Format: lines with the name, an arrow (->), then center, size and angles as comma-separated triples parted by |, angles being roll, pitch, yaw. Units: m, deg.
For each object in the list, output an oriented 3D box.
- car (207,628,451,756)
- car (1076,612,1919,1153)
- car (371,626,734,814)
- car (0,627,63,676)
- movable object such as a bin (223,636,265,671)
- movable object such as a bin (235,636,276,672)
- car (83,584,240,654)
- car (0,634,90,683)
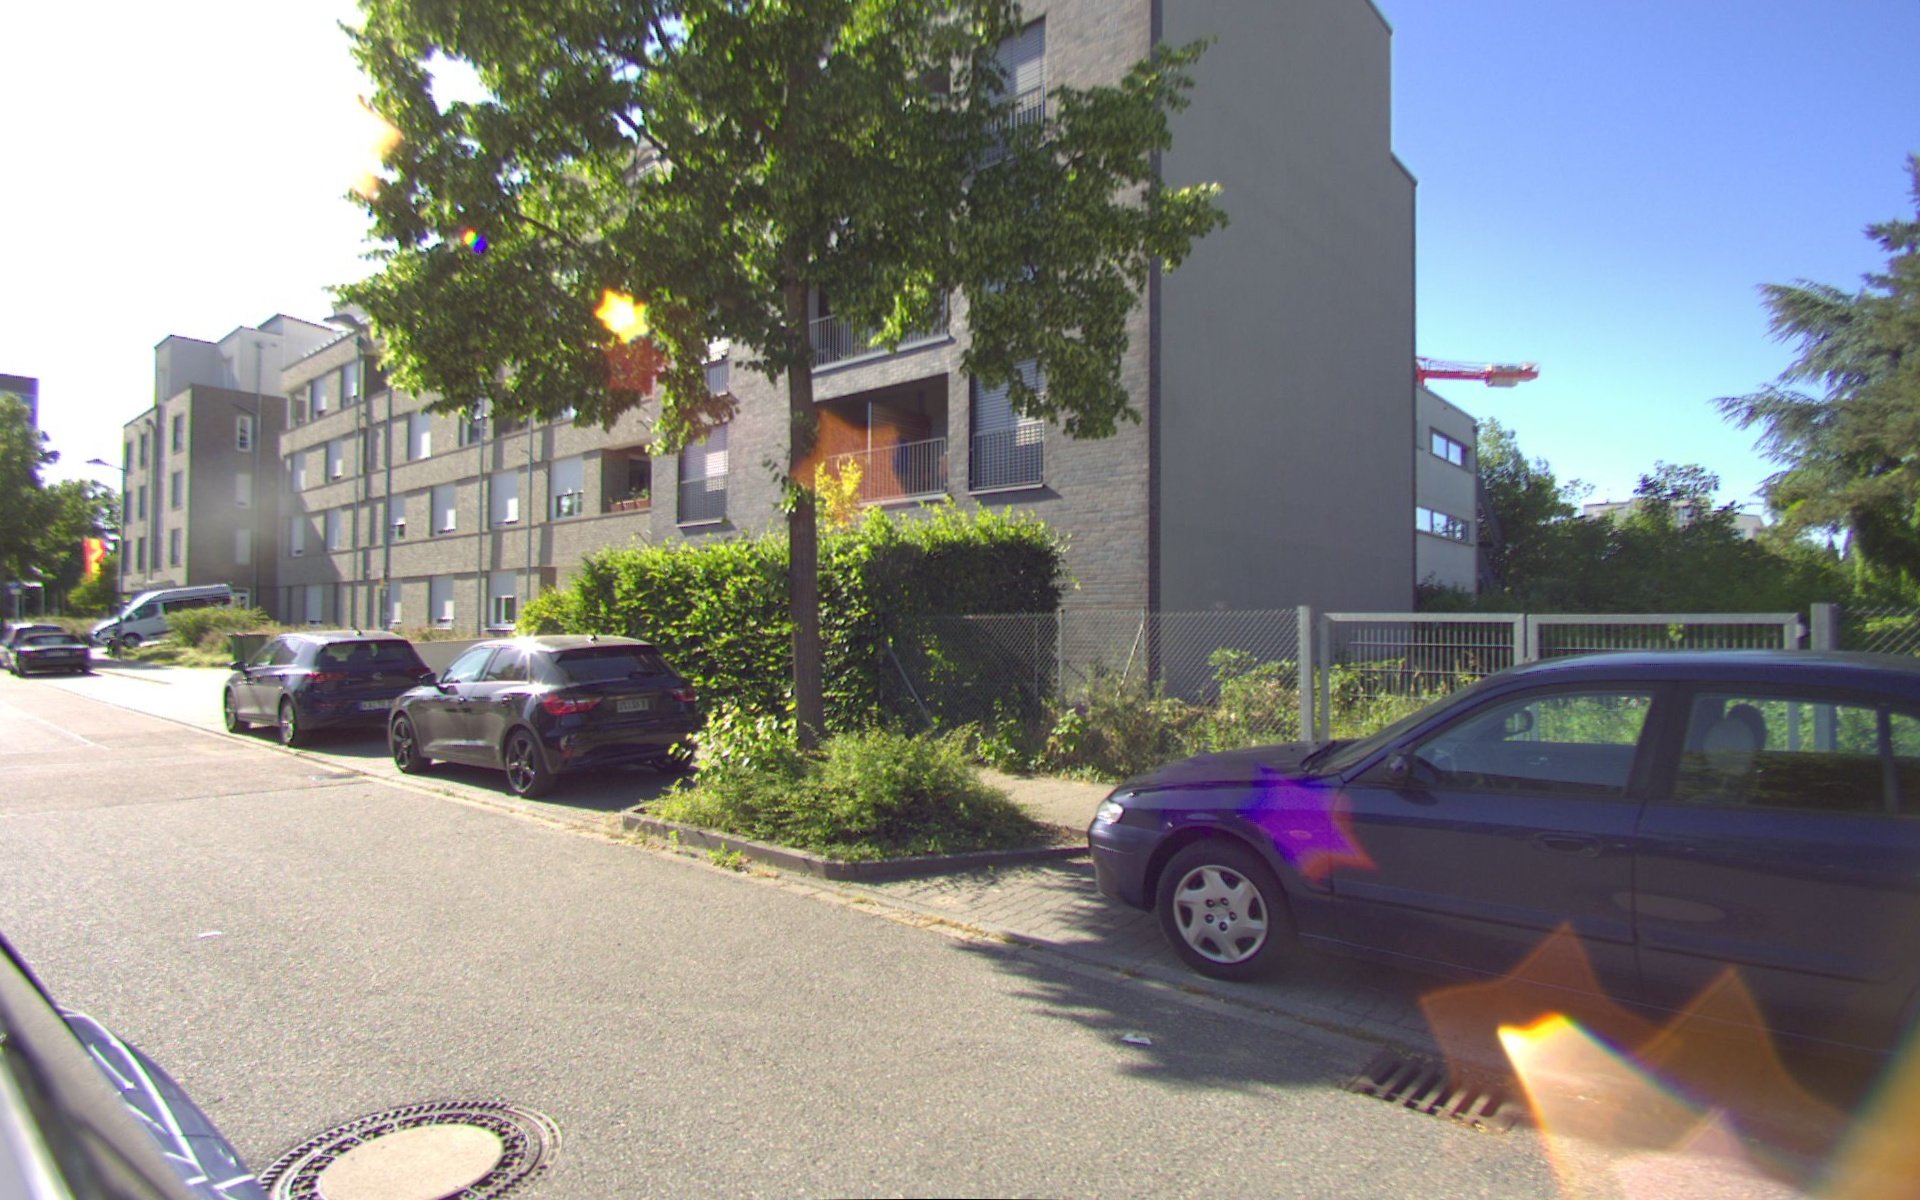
car -> -9.033, 1.171, 14.364 | 4.097, 1.485, 1.821 | -1, 0, 41
car -> 2.782, 0.812, 3.981 | 4.357, 1.485, 1.821 | -1, 0, 41
car -> -4.298, 1.046, 10.390 | 4.025, 1.485, 1.821 | -1, 0, 41
car -> -30.934, 1.657, 33.301 | 3.560, 1.536, 1.610 | -1, -2, 40
movable object such as a bin -> -22.594, 1.677, 31.923 | 0.680, 1.045, 0.910 | -1, 1, 38
movable object such as a bin -> -21.936, 1.667, 31.517 | 0.677, 1.045, 0.852 | -1, 1, 38
car -> -35.325, 0.879, 44.936 | 2.011, 2.924, 5.091 | -1, -2, 37
car -> -26.971, 1.690, 29.775 | 3.561, 1.257, 1.610 | -1, 0, 42
